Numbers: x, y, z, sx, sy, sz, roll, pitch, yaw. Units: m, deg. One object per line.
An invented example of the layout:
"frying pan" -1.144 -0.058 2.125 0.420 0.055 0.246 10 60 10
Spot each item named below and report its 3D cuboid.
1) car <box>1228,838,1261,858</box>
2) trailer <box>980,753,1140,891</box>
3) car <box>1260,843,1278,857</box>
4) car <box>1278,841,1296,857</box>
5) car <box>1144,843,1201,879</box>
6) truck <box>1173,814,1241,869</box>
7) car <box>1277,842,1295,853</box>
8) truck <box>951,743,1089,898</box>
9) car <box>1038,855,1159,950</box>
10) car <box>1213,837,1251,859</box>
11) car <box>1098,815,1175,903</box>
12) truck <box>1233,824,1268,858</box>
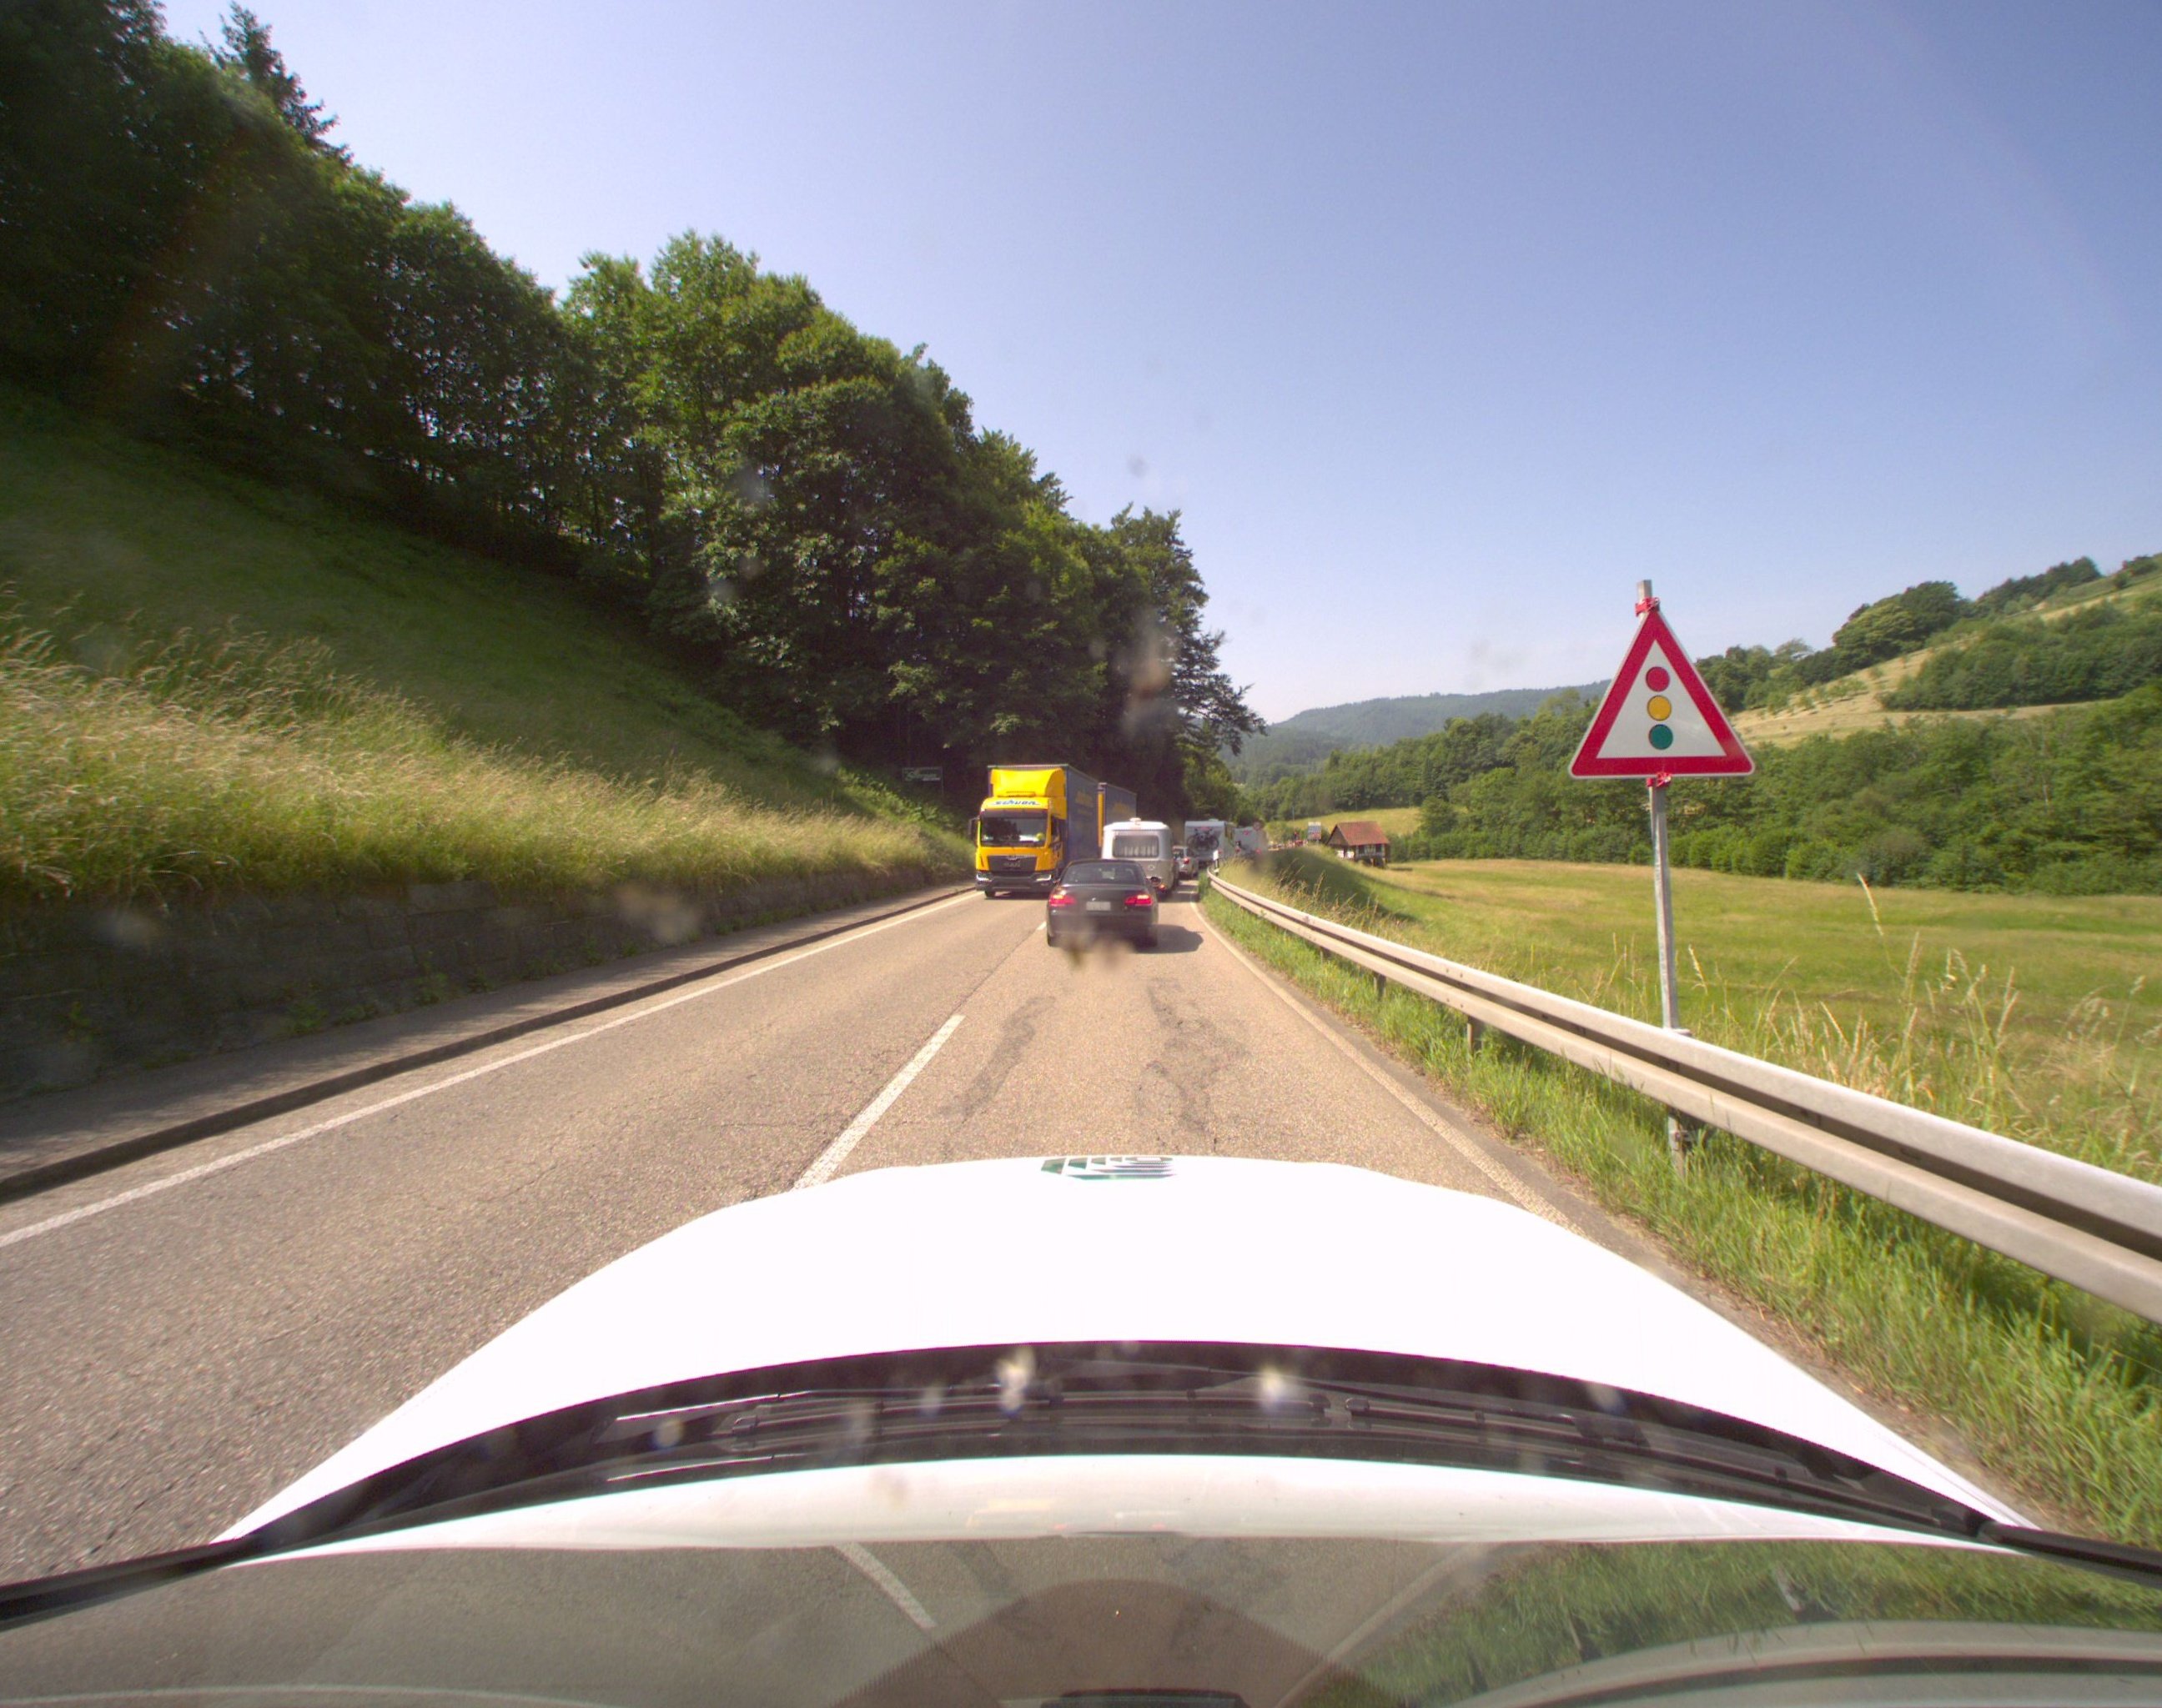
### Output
"car" 12.834 -0.474 63.772 1.772 1.463 4.021 2 2 21
"trailer" -0.180 -1.203 34.006 3.238 4.417 15.367 0 1 12
"car" 21.305 -0.470 92.386 1.893 1.486 4.015 0 0 14
"car" 25.699 -0.589 101.425 1.979 1.925 4.016 3 0 15
"car" 4.163 0.258 36.536 1.979 1.484 4.015 2 1 14
"truck" 7.646 -0.764 48.750 2.768 2.997 6.901 2 2 19
"car" 29.919 -0.992 118.980 1.976 1.575 4.021 0 0 22
"truck" -1.713 -1.052 26.422 3.171 4.396 6.585 1 2 7
"car" 0.415 0.706 13.727 1.763 1.335 3.772 0 1 5
"car" 10.838 -0.470 58.303 1.977 1.463 4.020 2 2 20
"car" 1.770 0.052 24.422 1.983 2.352 4.925 0 2 7
"truck" 14.746 -1.092 70.494 2.219 2.804 6.261 0 0 18
